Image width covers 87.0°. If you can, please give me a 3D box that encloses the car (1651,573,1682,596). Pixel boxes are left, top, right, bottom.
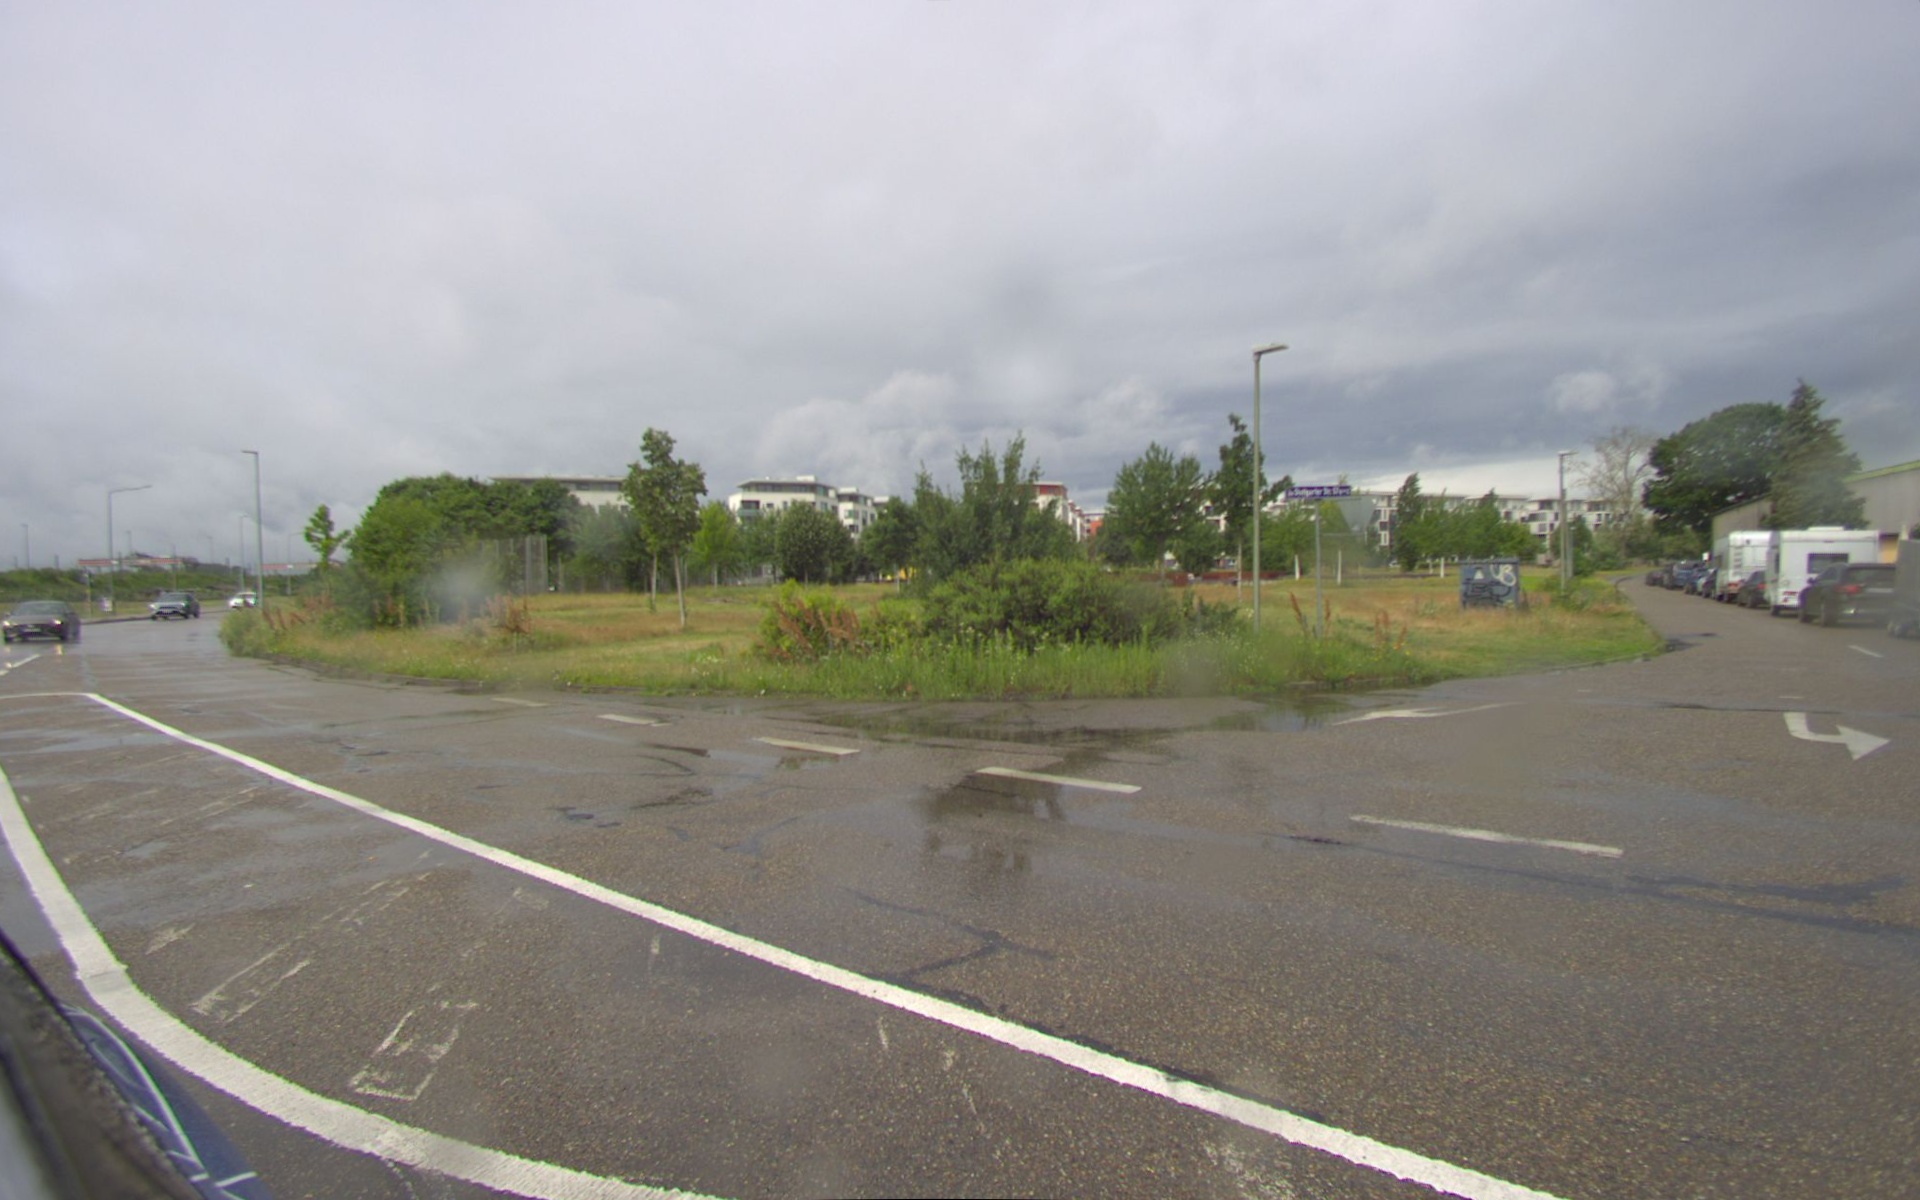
[{"bbox_3d":[57.149,-1.281,81.916,1.995,1.741,3.955,-1,1,34],"label":"car"}]

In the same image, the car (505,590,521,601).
[{"bbox_3d":[-65.365,-0.655,147.950,1.660,1.406,4.142,-4,3,-29],"label":"car"}]

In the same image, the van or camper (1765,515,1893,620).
[{"bbox_3d":[26.615,-0.967,31.176,2.478,2.968,4.463,-1,1,34],"label":"van or camper"}]

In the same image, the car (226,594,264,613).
[{"bbox_3d":[-60.025,0.270,85.013,1.811,1.530,4.372,-2,1,-25],"label":"car"}]

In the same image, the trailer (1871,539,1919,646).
[{"bbox_3d":[20.909,-0.241,21.306,1.838,2.104,4.070,-1,3,32],"label":"trailer"}]

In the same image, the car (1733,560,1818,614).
[{"bbox_3d":[29.091,-0.491,36.224,1.995,1.789,4.467,-1,1,34],"label":"car"}]

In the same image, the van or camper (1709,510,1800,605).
[{"bbox_3d":[33.914,-1.754,43.374,2.648,3.772,5.783,-1,1,34],"label":"van or camper"}]

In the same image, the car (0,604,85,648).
[{"bbox_3d":[-34.452,0.936,37.933,1.843,1.530,4.370,0,0,-32],"label":"car"}]

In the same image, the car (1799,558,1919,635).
[{"bbox_3d":[22.904,-0.131,25.718,1.995,1.789,4.467,-1,1,34],"label":"car"}]

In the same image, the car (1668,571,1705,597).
[{"bbox_3d":[49.449,-1.106,68.913,1.644,1.652,3.960,-1,1,30],"label":"car"}]

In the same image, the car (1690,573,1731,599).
[{"bbox_3d":[43.147,-0.843,58.229,1.641,1.408,3.955,-1,1,34],"label":"car"}]

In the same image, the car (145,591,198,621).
[{"bbox_3d":[-49.255,0.335,63.302,1.977,1.718,4.342,-2,1,-30],"label":"car"}]

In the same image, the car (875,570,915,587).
[{"bbox_3d":[-11.408,-3.715,177.235,6.527,2.633,1.973,-4,3,-23],"label":"car"}]

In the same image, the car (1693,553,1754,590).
[{"bbox_3d":[36.896,-1.390,49.019,1.994,1.696,3.957,-1,1,32],"label":"car"}]
